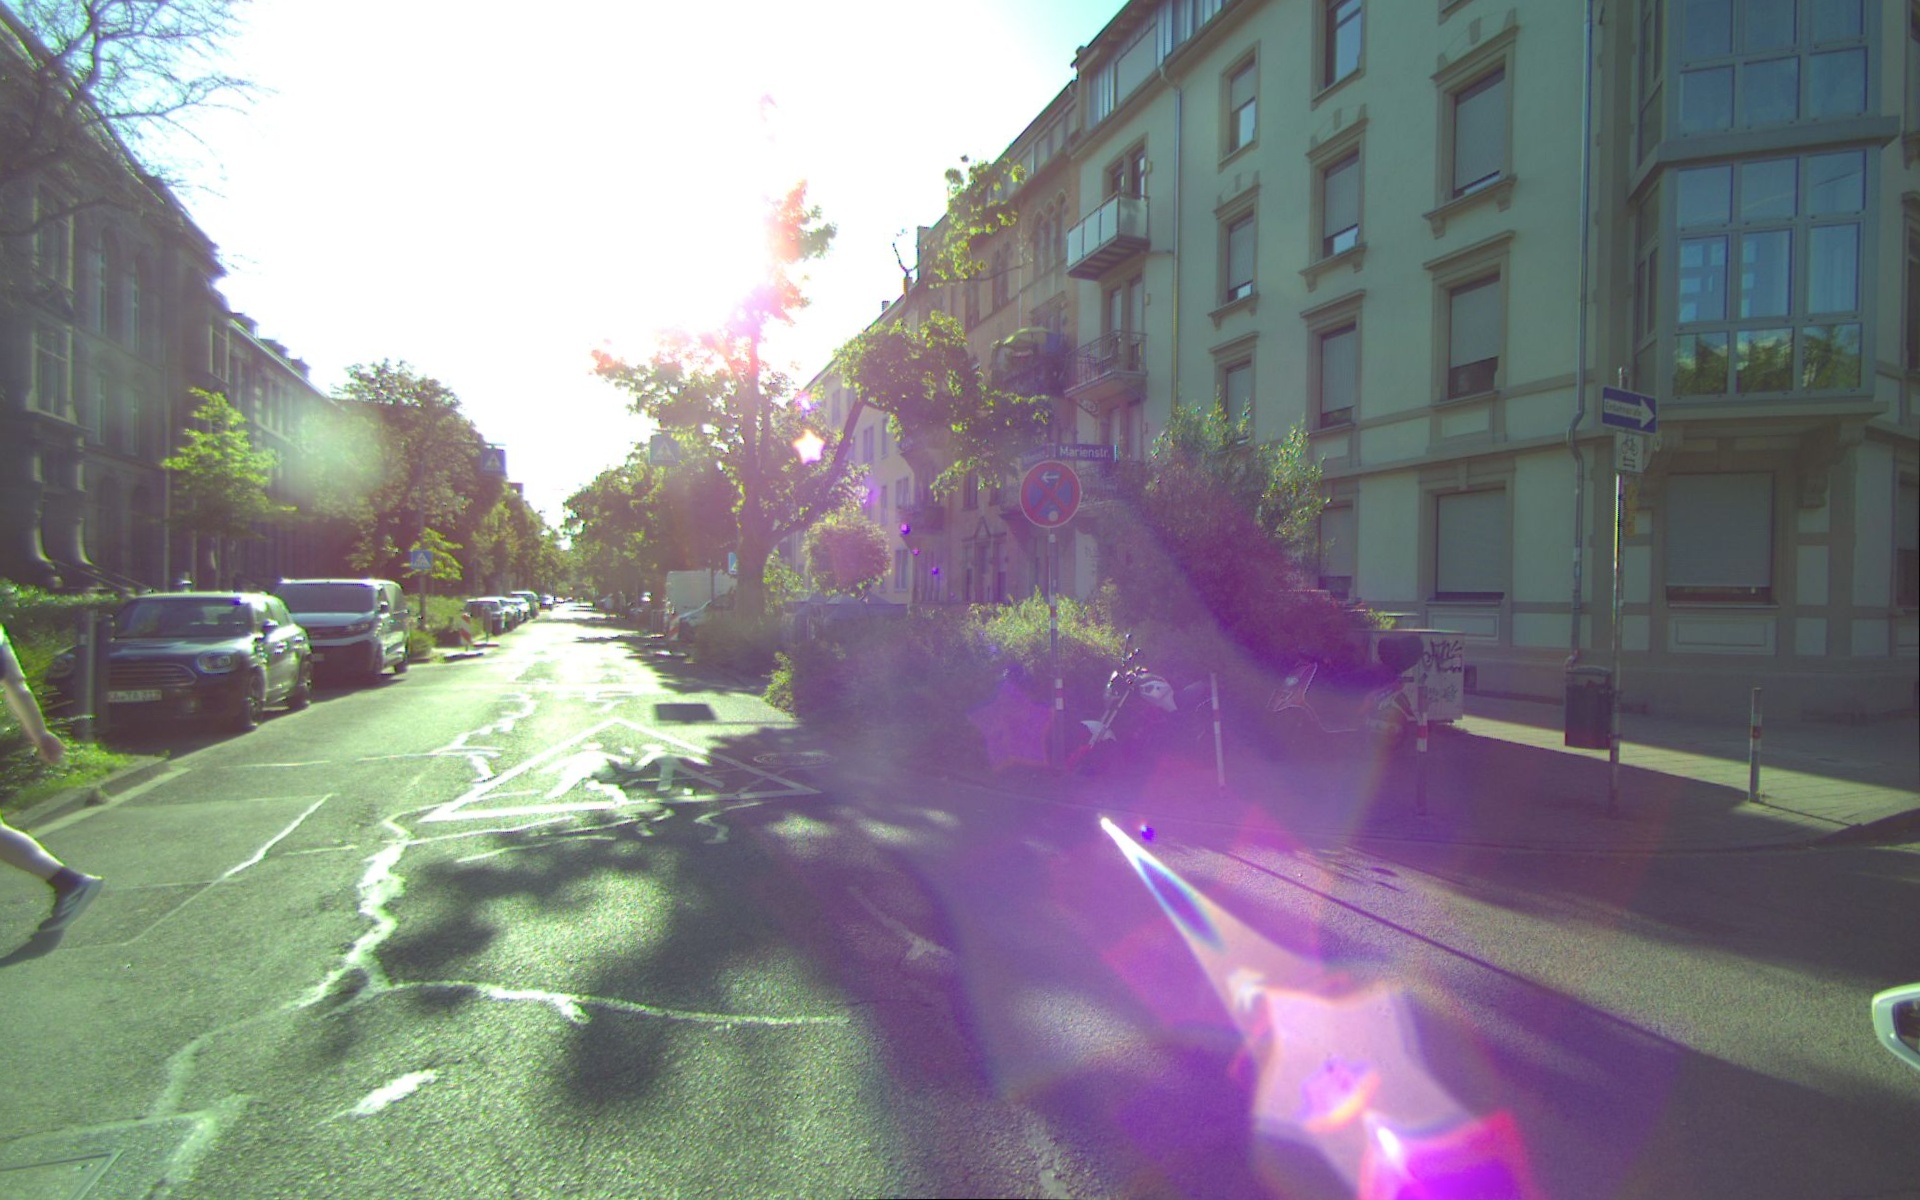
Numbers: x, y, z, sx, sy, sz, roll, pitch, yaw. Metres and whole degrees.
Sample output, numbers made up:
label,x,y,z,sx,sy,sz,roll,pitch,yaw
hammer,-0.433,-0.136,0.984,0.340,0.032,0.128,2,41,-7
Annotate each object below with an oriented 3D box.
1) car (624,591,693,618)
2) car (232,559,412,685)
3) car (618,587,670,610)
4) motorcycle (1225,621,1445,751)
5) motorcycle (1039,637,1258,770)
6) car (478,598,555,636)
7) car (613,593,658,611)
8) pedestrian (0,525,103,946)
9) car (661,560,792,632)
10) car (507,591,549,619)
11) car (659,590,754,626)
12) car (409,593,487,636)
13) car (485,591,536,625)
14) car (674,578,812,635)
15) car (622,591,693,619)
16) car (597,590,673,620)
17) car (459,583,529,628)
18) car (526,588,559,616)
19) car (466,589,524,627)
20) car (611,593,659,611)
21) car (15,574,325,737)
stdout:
label,x,y,z,sx,sy,sz,roll,pitch,yaw
car,-21.369,0.305,71.241,4.390,1.829,1.985,1,0,-29
car,-11.718,0.328,18.810,1.971,2.041,4.625,-1,1,-22
car,-29.705,-0.140,94.506,4.385,2.040,1.986,1,0,-27
motorcycle,3.742,0.854,10.049,2.008,1.212,0.612,2,0,-11
motorcycle,1.707,0.927,9.126,1.839,1.104,0.639,2,0,-15
car,-15.056,0.535,34.260,1.968,1.192,3.772,1,0,-18
car,-35.450,0.205,109.620,4.390,1.829,1.985,1,0,-29
pedestrian,-4.553,0.559,4.408,0.992,1.769,0.801,1,1,-24
car,-9.382,-0.138,40.363,4.839,2.741,2.124,1,0,-23
car,-27.802,0.324,64.772,1.968,1.701,4.421,1,0,-17
car,-13.804,0.434,54.709,4.835,1.849,1.991,1,0,-20
car,-17.103,0.449,33.737,1.710,1.322,3.984,1,0,-18
car,-24.179,0.406,54.181,1.968,1.701,4.421,1,0,-17
car,-8.197,0.264,37.909,4.835,2.040,1.991,1,0,-20
car,-20.824,0.359,69.117,4.390,1.829,1.985,1,0,-29
car,-21.066,0.331,65.072,4.390,1.829,1.985,1,0,-29
car,-18.701,0.207,40.527,1.968,1.701,4.421,1,0,-17
car,-31.289,0.170,75.375,1.969,2.040,3.983,1,0,-18
car,-22.501,0.365,48.750,1.968,1.701,4.421,1,0,-17
car,-33.420,0.187,103.313,4.390,1.829,1.985,1,0,-29
car,-9.171,0.528,12.105,1.858,1.596,4.122,1,1,-22
